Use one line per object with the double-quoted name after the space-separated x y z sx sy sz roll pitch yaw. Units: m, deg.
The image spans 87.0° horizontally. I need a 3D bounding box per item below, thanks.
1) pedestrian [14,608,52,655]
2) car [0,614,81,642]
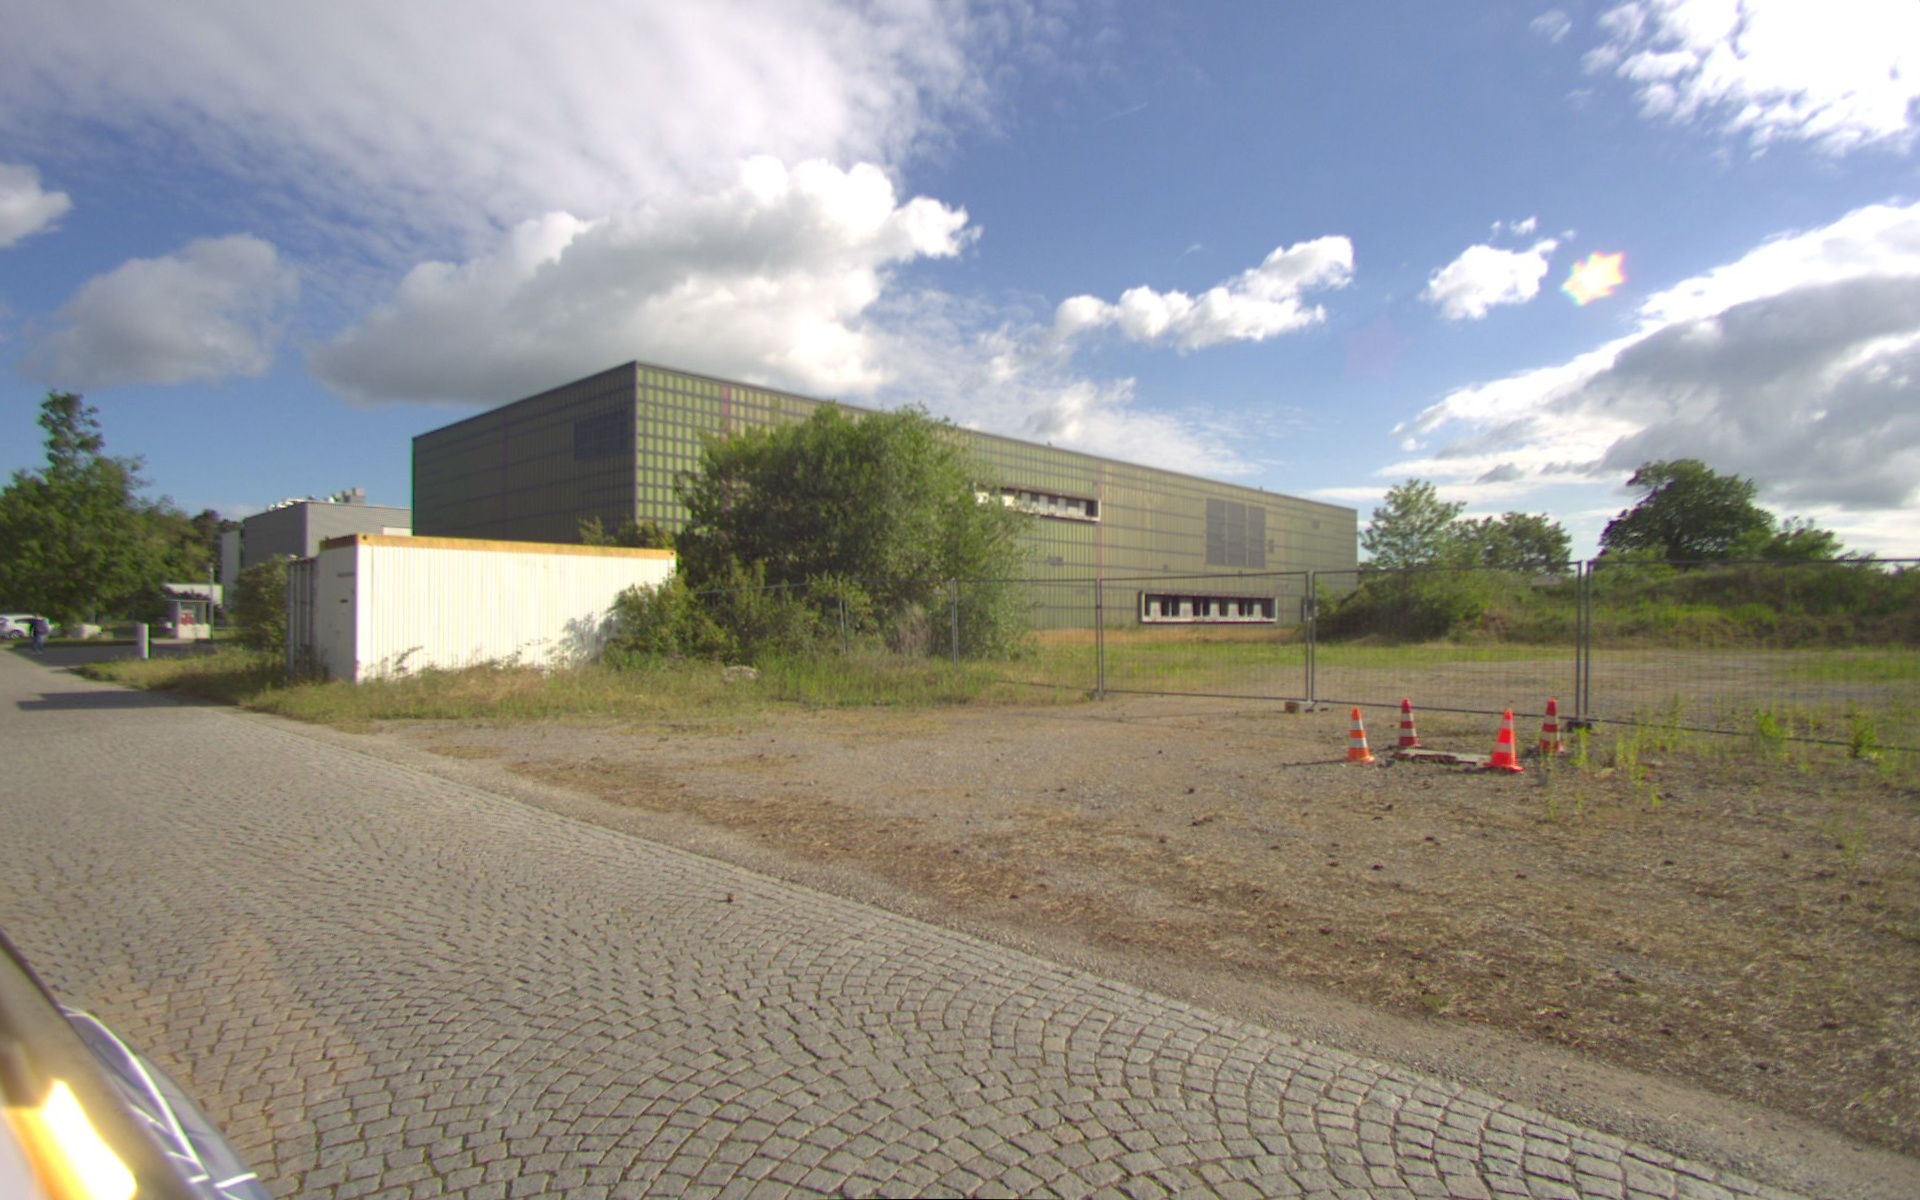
-36.523 1.222 39.888 0.982 1.821 0.897 -1 -2 36 "pedestrian"
-57.904 1.754 63.586 3.940 1.701 2.002 1 -2 -44 "car"
